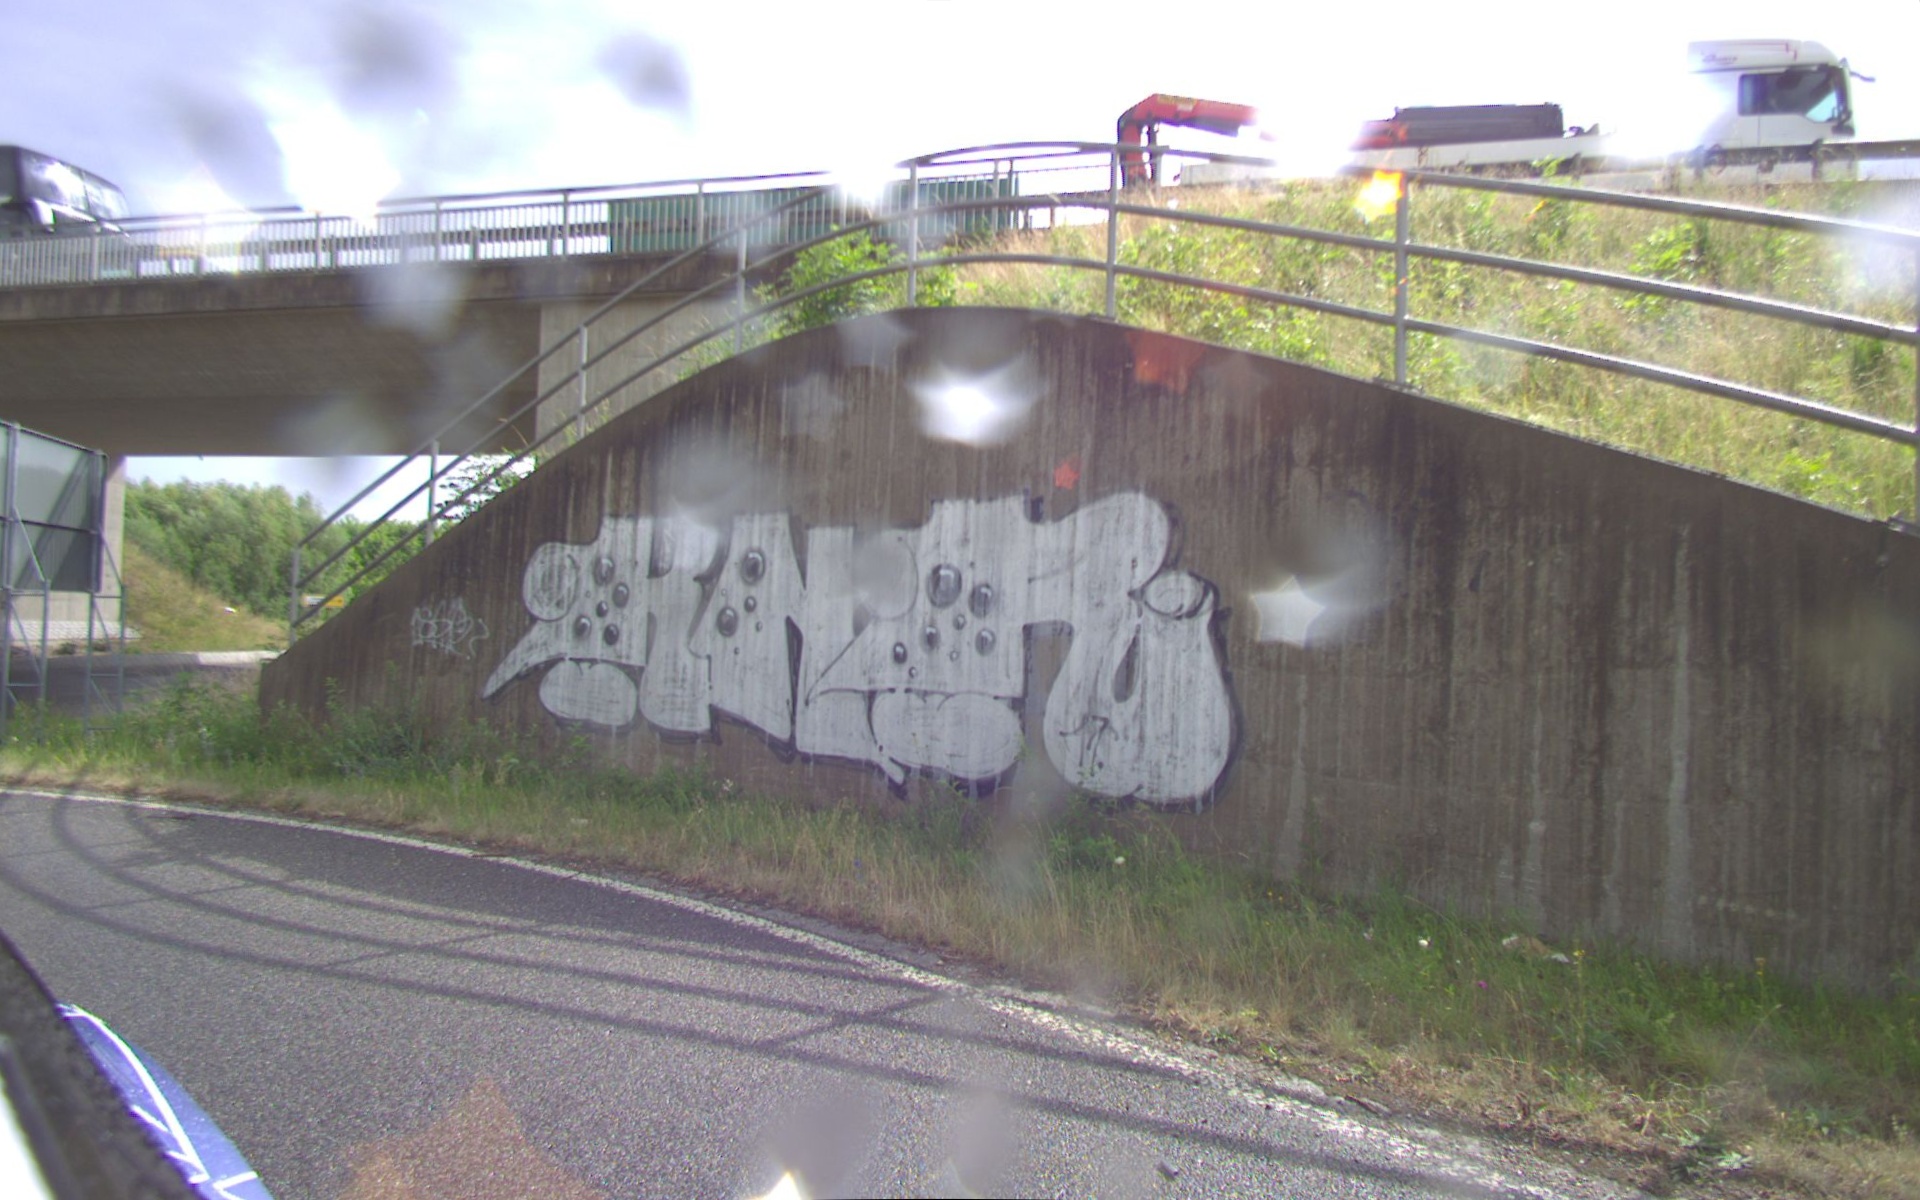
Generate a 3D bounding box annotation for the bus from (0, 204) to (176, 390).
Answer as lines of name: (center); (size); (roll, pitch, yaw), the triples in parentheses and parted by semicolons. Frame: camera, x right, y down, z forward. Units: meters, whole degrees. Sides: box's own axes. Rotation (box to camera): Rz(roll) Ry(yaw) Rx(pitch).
bus: (-24.663, -6.473, 21.968); (14.288, 3.103, 2.608); (2, 0, 7)
